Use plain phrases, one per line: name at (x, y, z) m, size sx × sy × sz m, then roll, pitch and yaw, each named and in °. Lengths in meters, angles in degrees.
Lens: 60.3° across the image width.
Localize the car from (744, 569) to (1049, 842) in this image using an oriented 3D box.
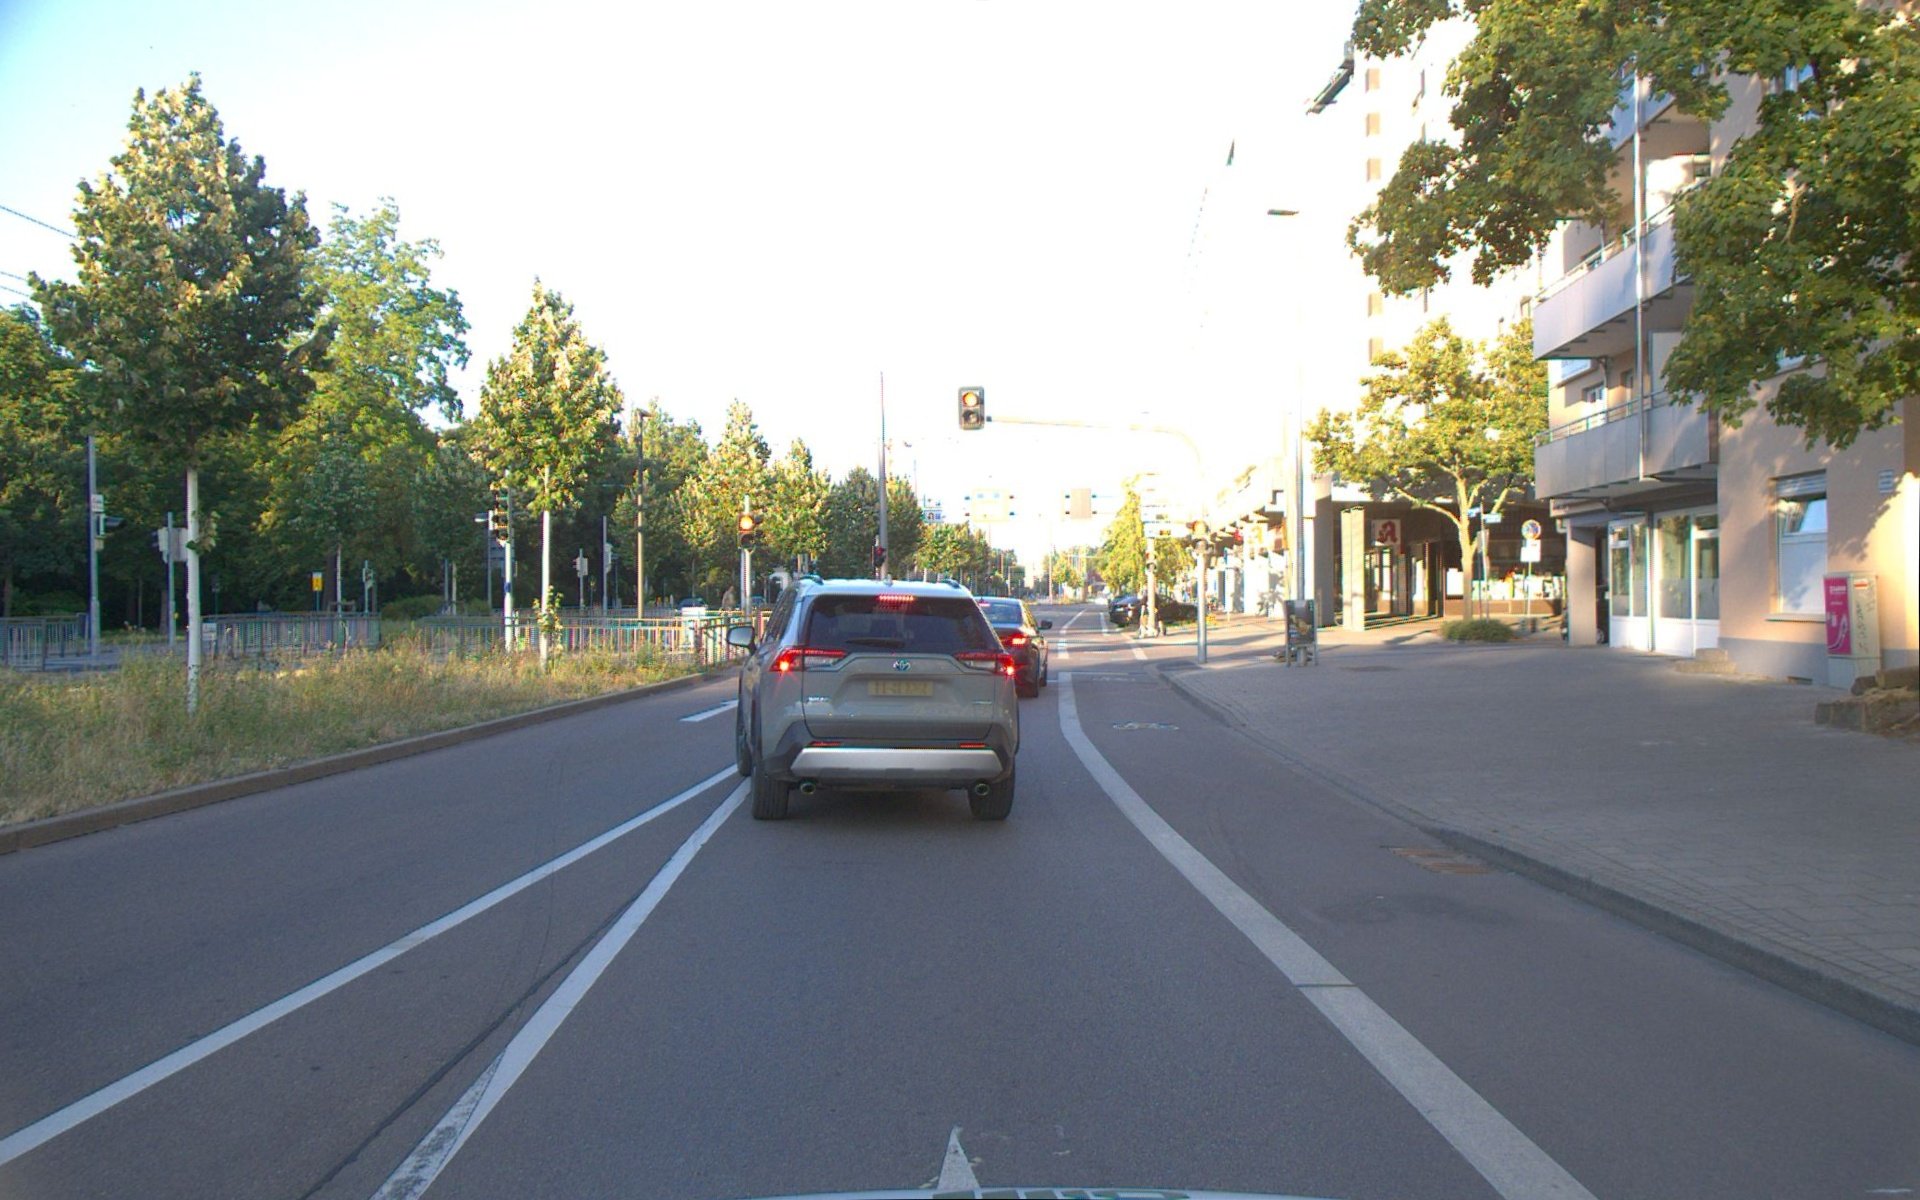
car at (-0.666, 0.634, 12.677) m, size 1.820 × 1.687 × 4.260 m, roll 0°, pitch 1°, yaw -9°

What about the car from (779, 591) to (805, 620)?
car at (-14.185, 0.447, 139.585) m, size 1.954 × 2.205 × 4.748 m, roll 1°, pitch 1°, yaw -3°

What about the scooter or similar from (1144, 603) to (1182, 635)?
scooter or similar at (7.563, 0.697, 61.538) m, size 1.303 × 1.173 × 0.513 m, roll -1°, pitch 0°, yaw 28°

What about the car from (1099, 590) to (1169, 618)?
car at (11.026, 0.221, 105.002) m, size 4.214 × 1.687 × 1.840 m, roll 0°, pitch 2°, yaw -32°

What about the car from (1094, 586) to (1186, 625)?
car at (8.368, 0.234, 76.639) m, size 4.228 × 1.687 × 1.834 m, roll 0°, pitch 2°, yaw -40°

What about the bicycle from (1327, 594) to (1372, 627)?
bicycle at (14.361, 0.389, 61.003) m, size 0.677 × 1.169 × 2.014 m, roll 3°, pitch -1°, yaw -15°

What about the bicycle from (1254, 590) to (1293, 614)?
bicycle at (16.783, 0.119, 88.567) m, size 1.973 × 1.169 × 0.691 m, roll 2°, pitch -1°, yaw 9°

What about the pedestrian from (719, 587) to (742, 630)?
pedestrian at (-9.393, 0.349, 67.608) m, size 0.817 × 1.742 × 0.648 m, roll -1°, pitch 0°, yaw 2°

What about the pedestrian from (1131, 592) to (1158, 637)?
pedestrian at (6.661, 0.519, 59.591) m, size 0.817 × 1.614 × 0.812 m, roll -1°, pitch 0°, yaw 17°

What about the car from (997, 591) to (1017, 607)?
car at (4.786, -0.086, 167.120) m, size 1.937 × 1.458 × 4.845 m, roll 1°, pitch 1°, yaw 3°

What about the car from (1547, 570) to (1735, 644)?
car at (16.895, 0.204, 41.197) m, size 3.955 × 1.613 × 1.706 m, roll -2°, pitch -3°, yaw 7°

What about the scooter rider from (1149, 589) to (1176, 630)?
scooter rider at (7.556, 0.356, 61.569) m, size 0.805 × 1.540 × 0.652 m, roll -1°, pitch 0°, yaw 28°

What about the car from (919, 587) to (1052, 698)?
car at (0.489, 0.595, 26.128) m, size 1.891 × 1.507 × 4.525 m, roll 1°, pitch 1°, yaw 3°
